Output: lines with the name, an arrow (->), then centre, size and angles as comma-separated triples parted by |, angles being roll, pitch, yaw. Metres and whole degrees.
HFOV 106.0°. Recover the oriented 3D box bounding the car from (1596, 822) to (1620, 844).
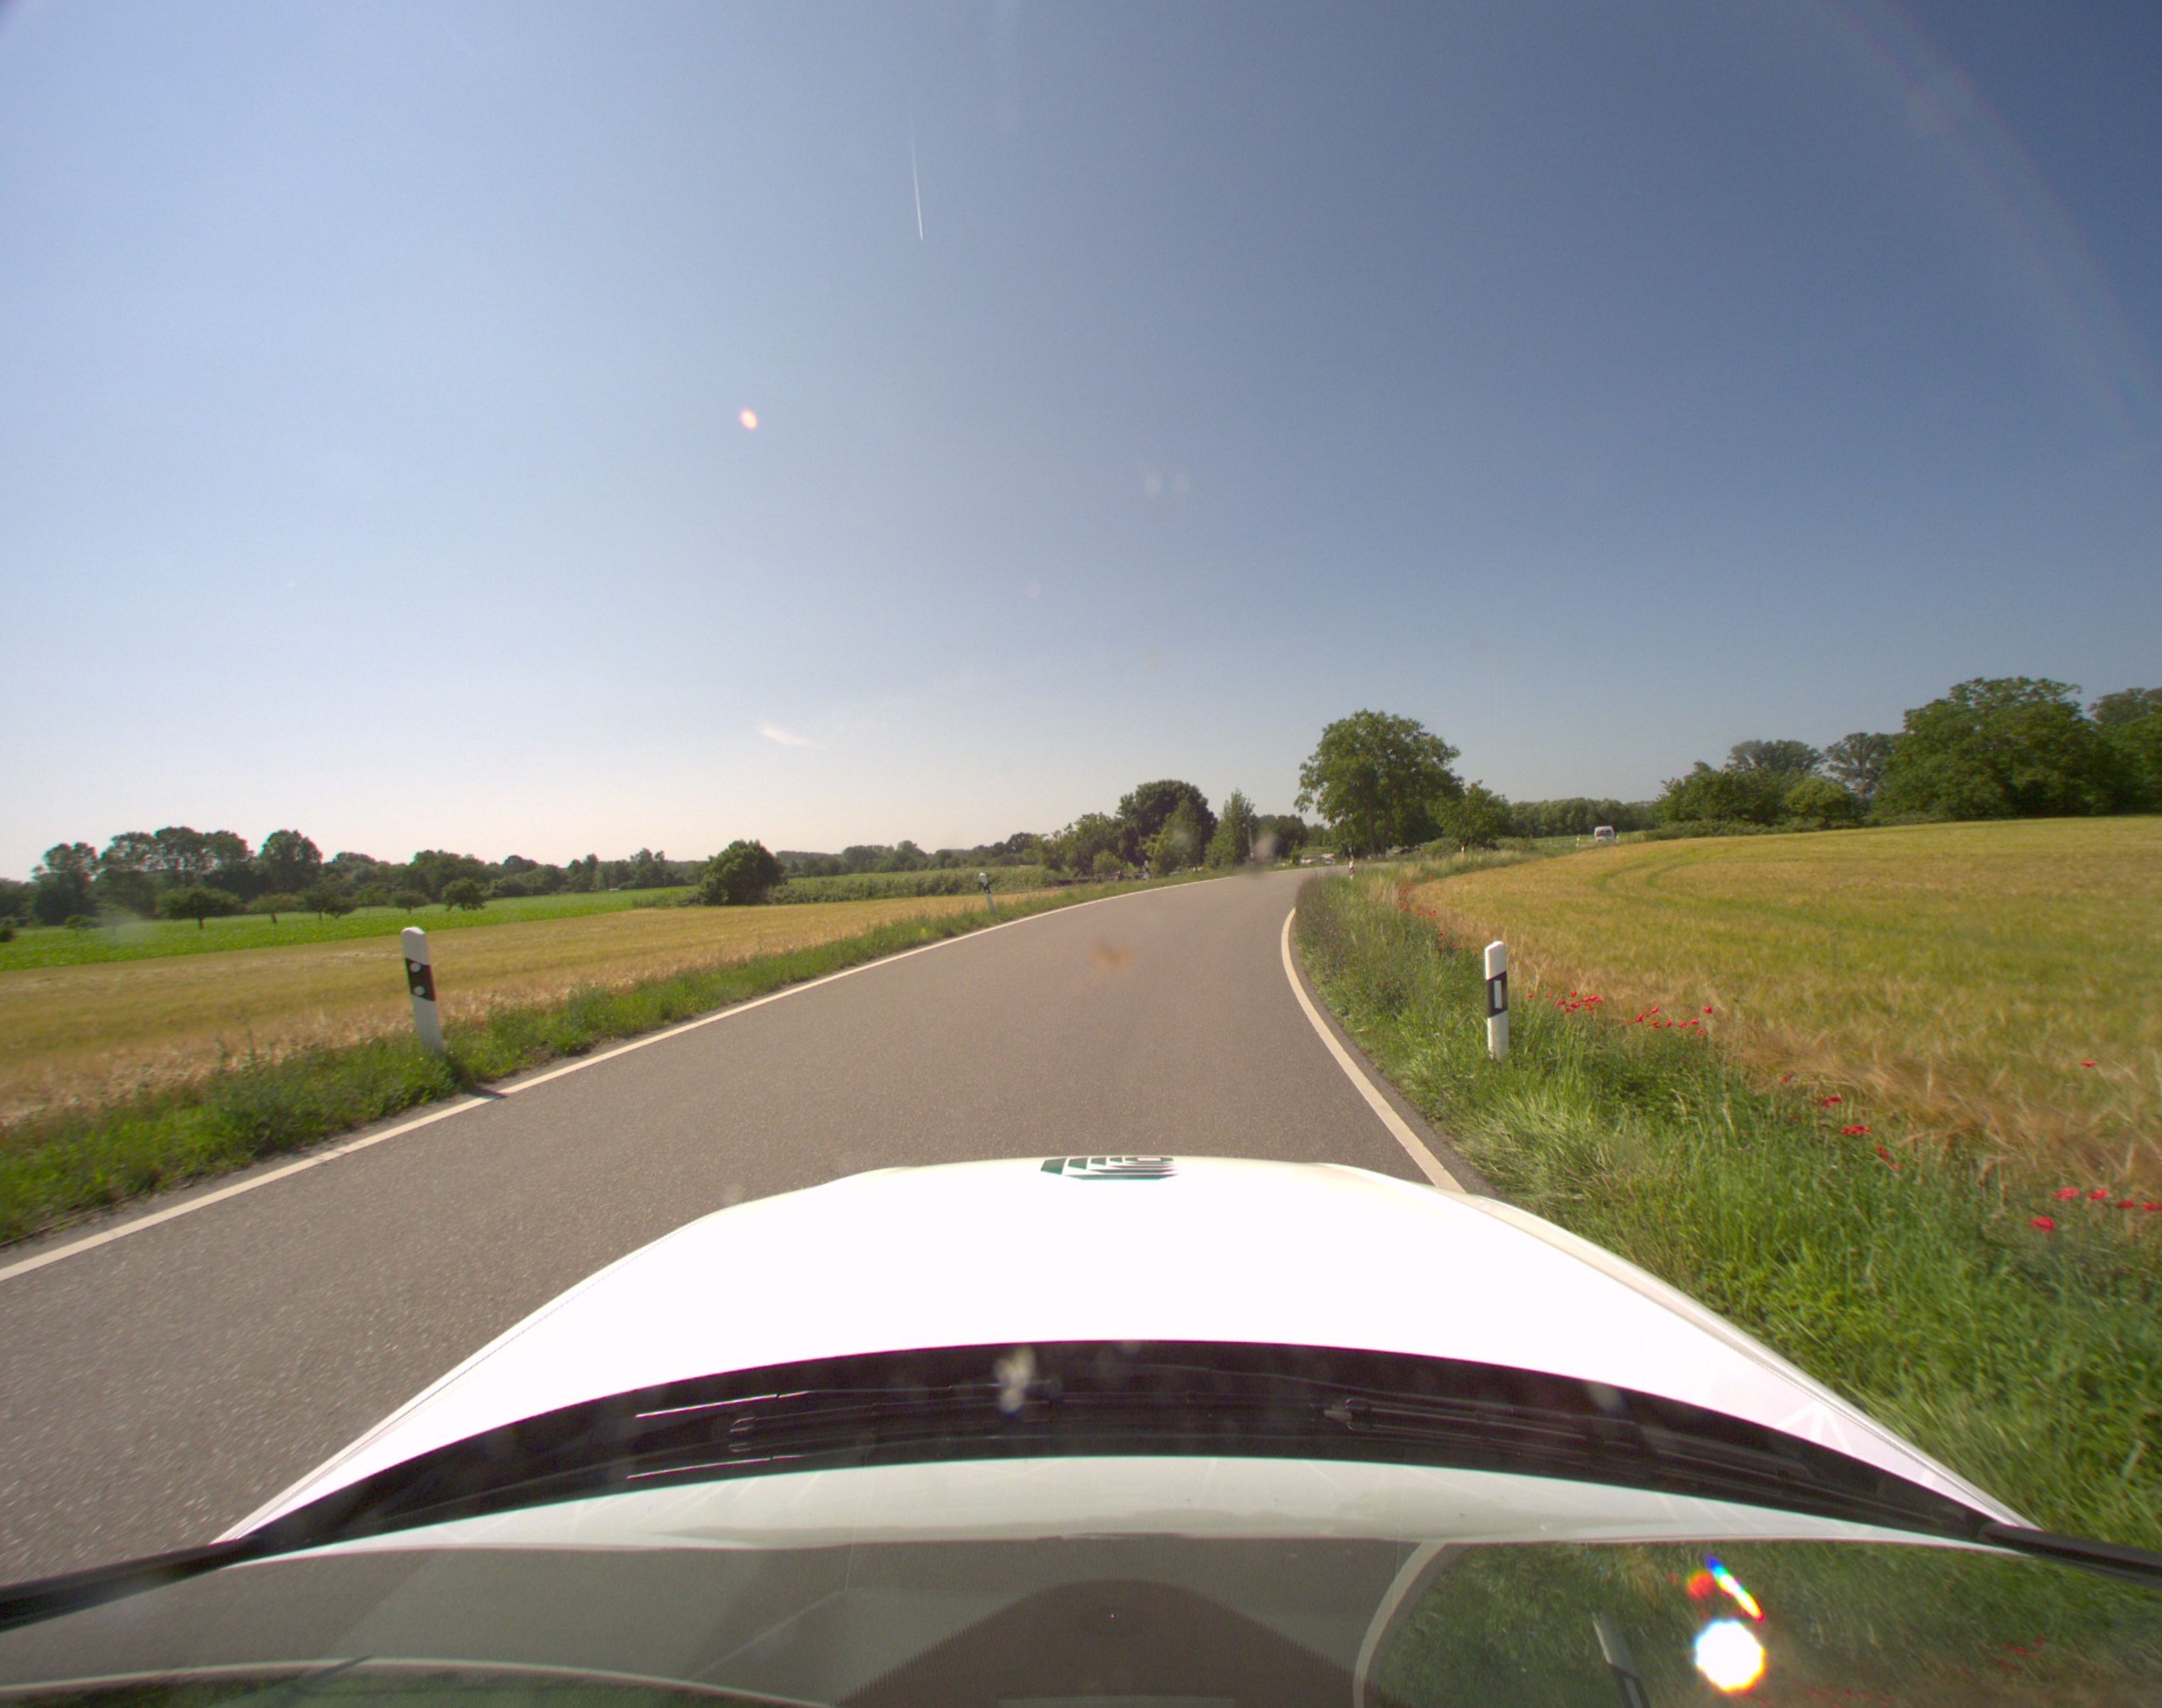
car -> 61.580, -2.473, 95.054 | 2.083, 2.367, 5.724 | -4, 0, 34
